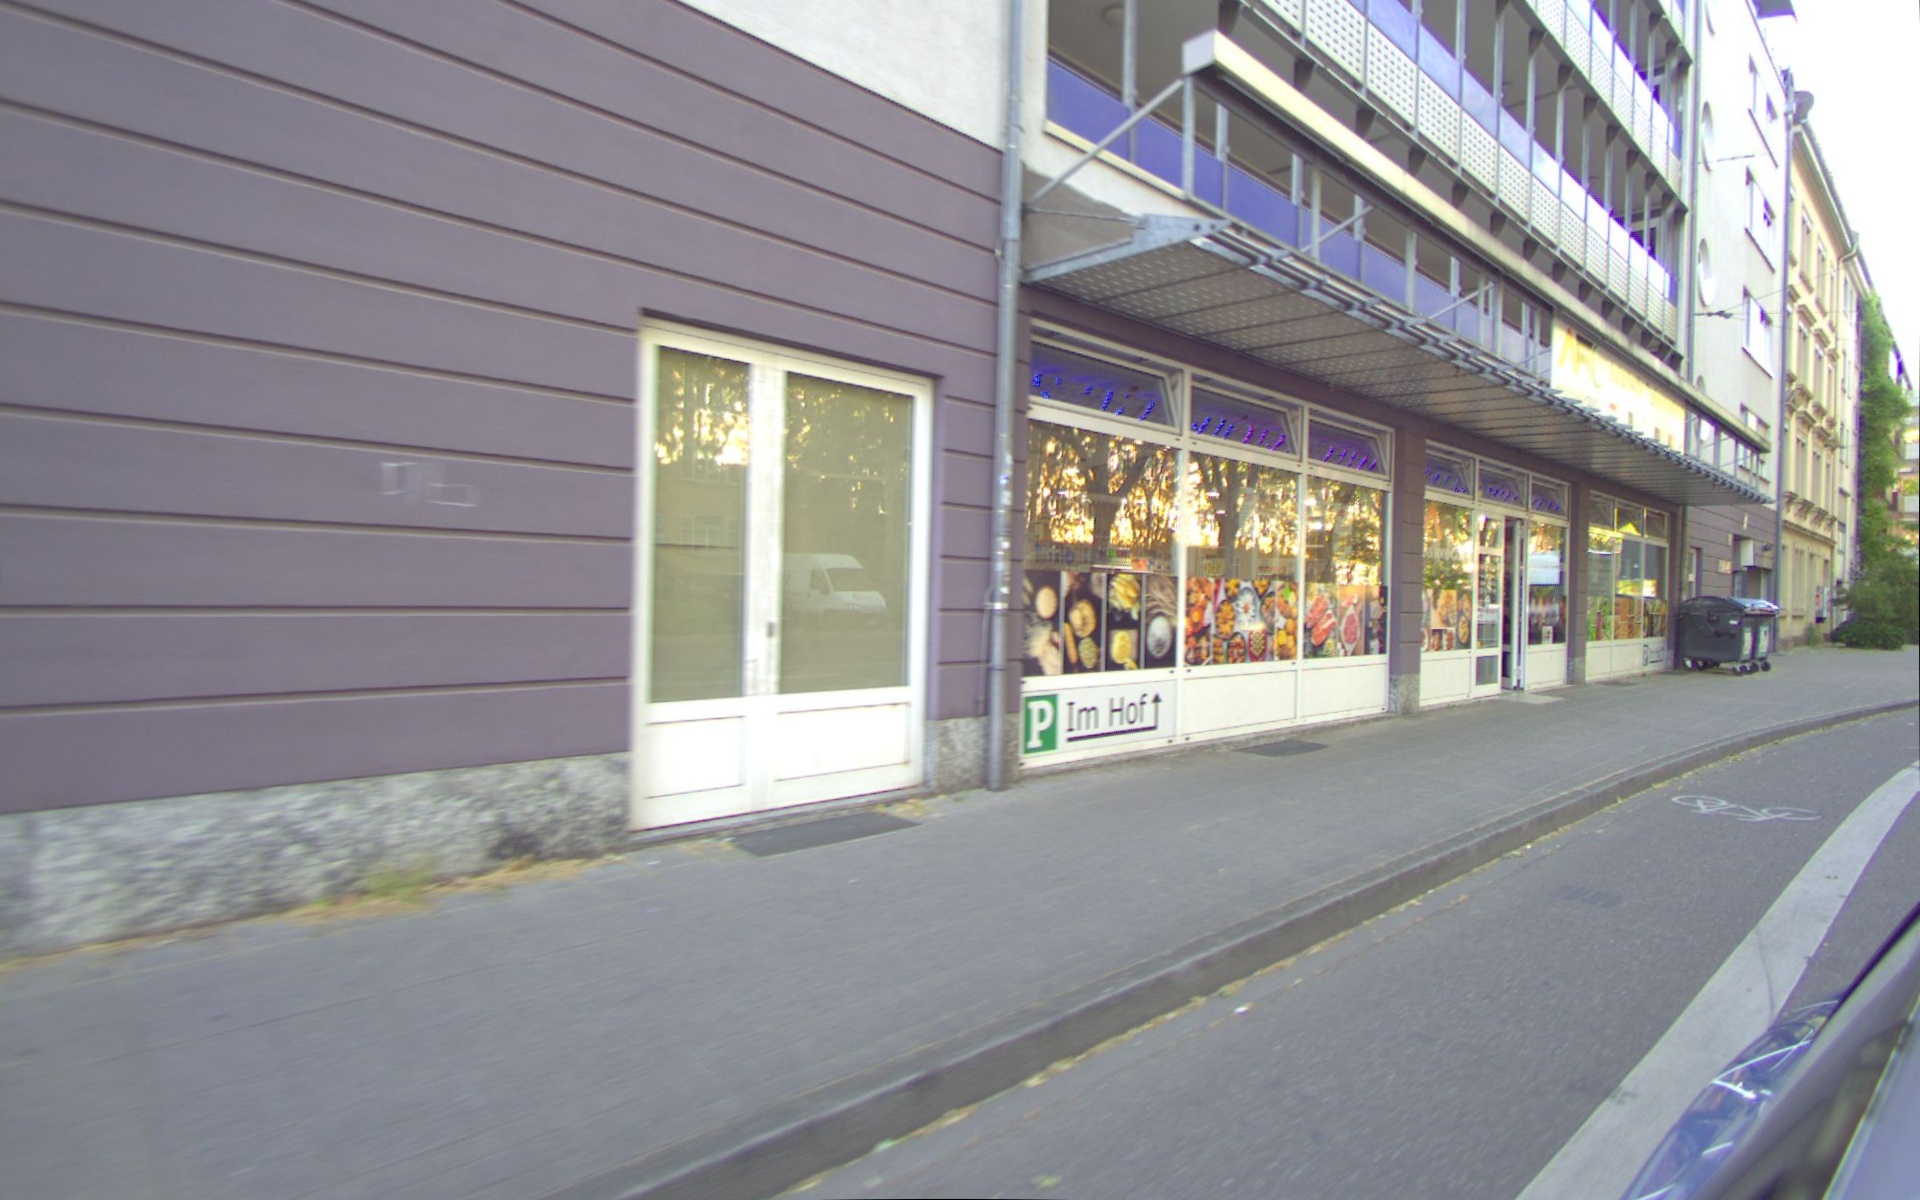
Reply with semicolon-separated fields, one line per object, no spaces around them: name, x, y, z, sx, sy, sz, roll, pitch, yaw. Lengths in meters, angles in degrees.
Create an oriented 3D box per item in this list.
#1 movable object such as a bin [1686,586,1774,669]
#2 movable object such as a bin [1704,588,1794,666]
movable object such as a bin;14.372;0.481;18.896;1.274;1.465;1.068;0;1;-42
movable object such as a bin;15.729;0.513;20.176;1.282;1.464;1.123;1;1;-37
